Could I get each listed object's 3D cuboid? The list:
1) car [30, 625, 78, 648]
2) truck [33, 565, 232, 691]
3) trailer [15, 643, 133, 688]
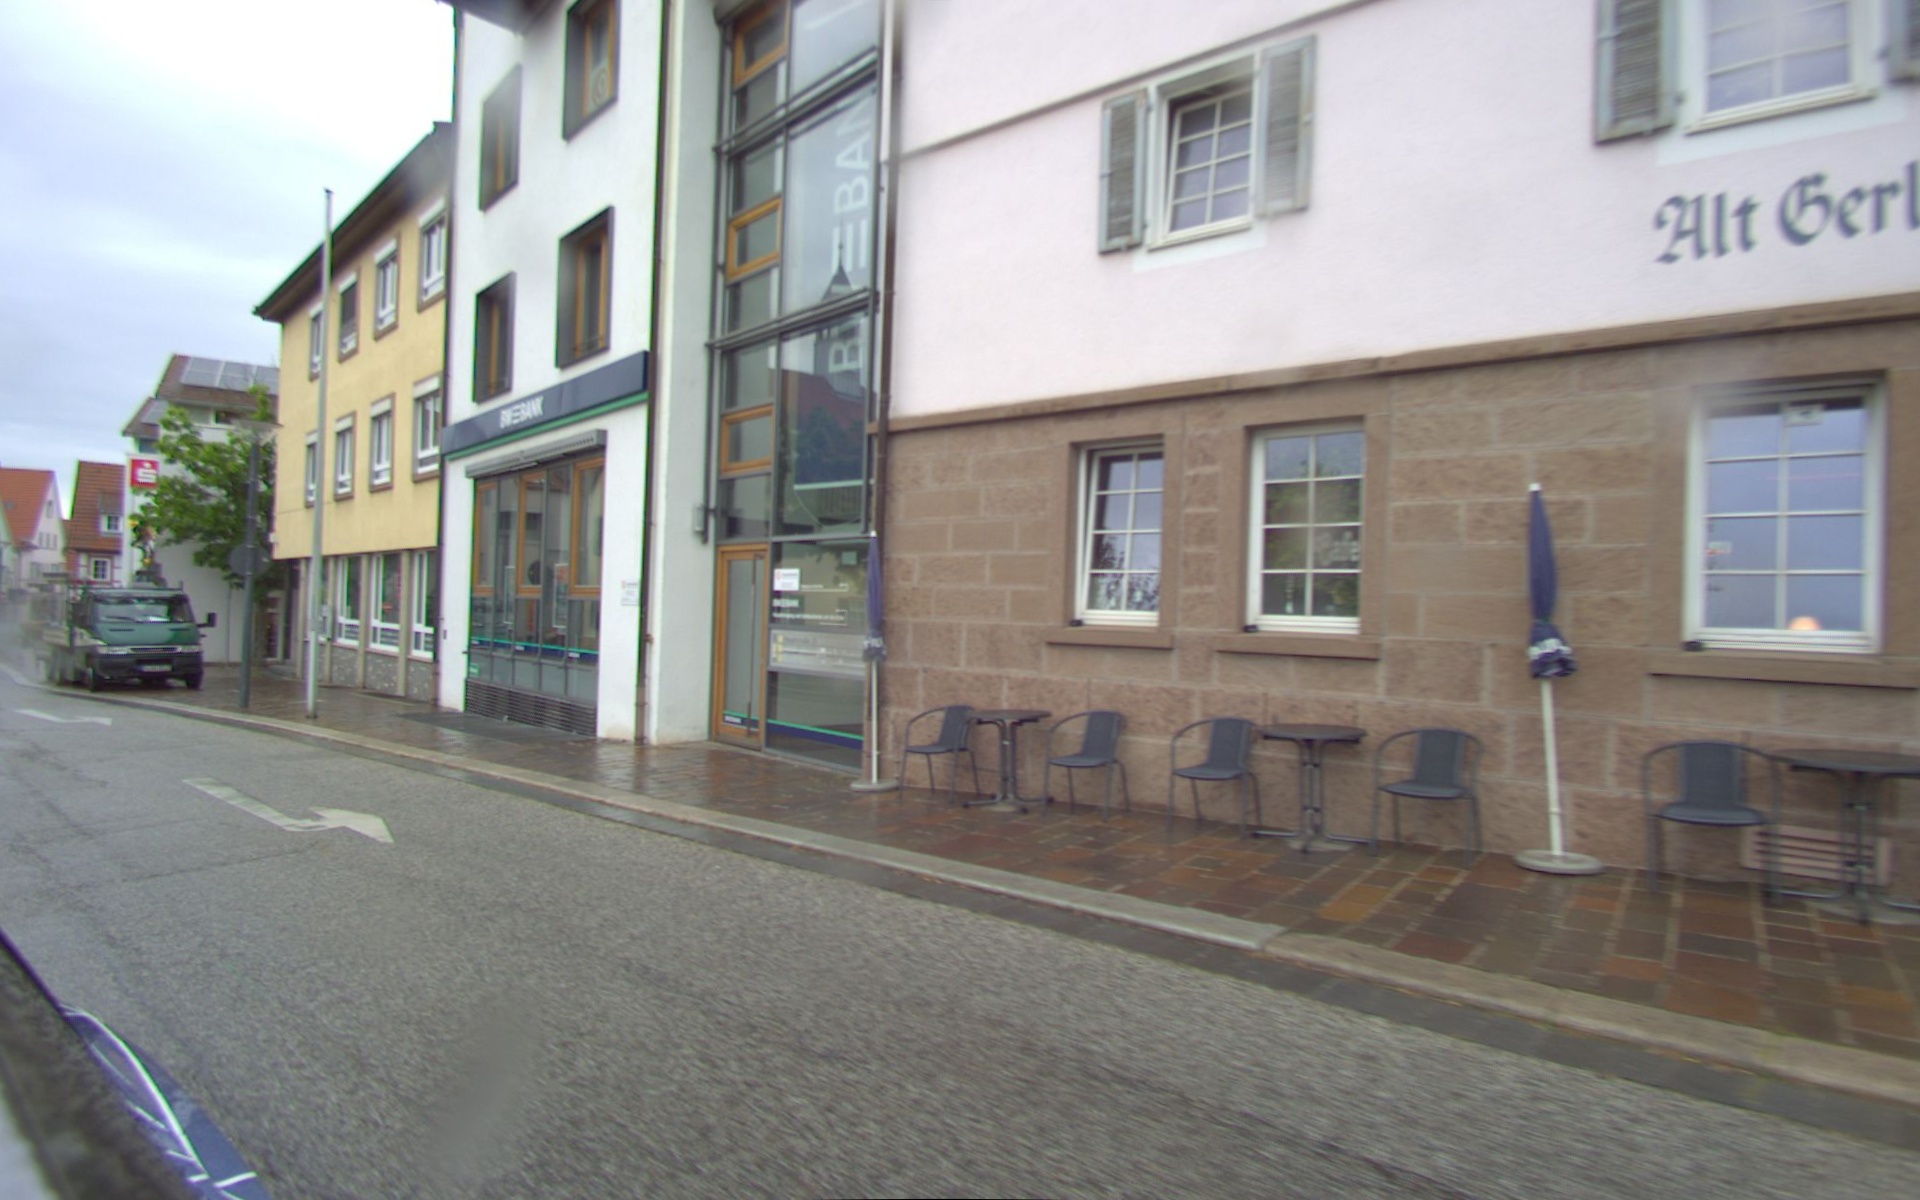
[{"bbox_3d":[-62.380,2.479,69.734,1.777,1.453,4.012,1,-1,-31],"label":"car"},{"bbox_3d":[-19.764,0.771,24.048,6.475,2.615,2.376,-3,-4,39],"label":"truck"},{"bbox_3d":[-23.522,1.728,26.856,3.015,1.133,1.834,-3,-4,38],"label":"trailer"}]
